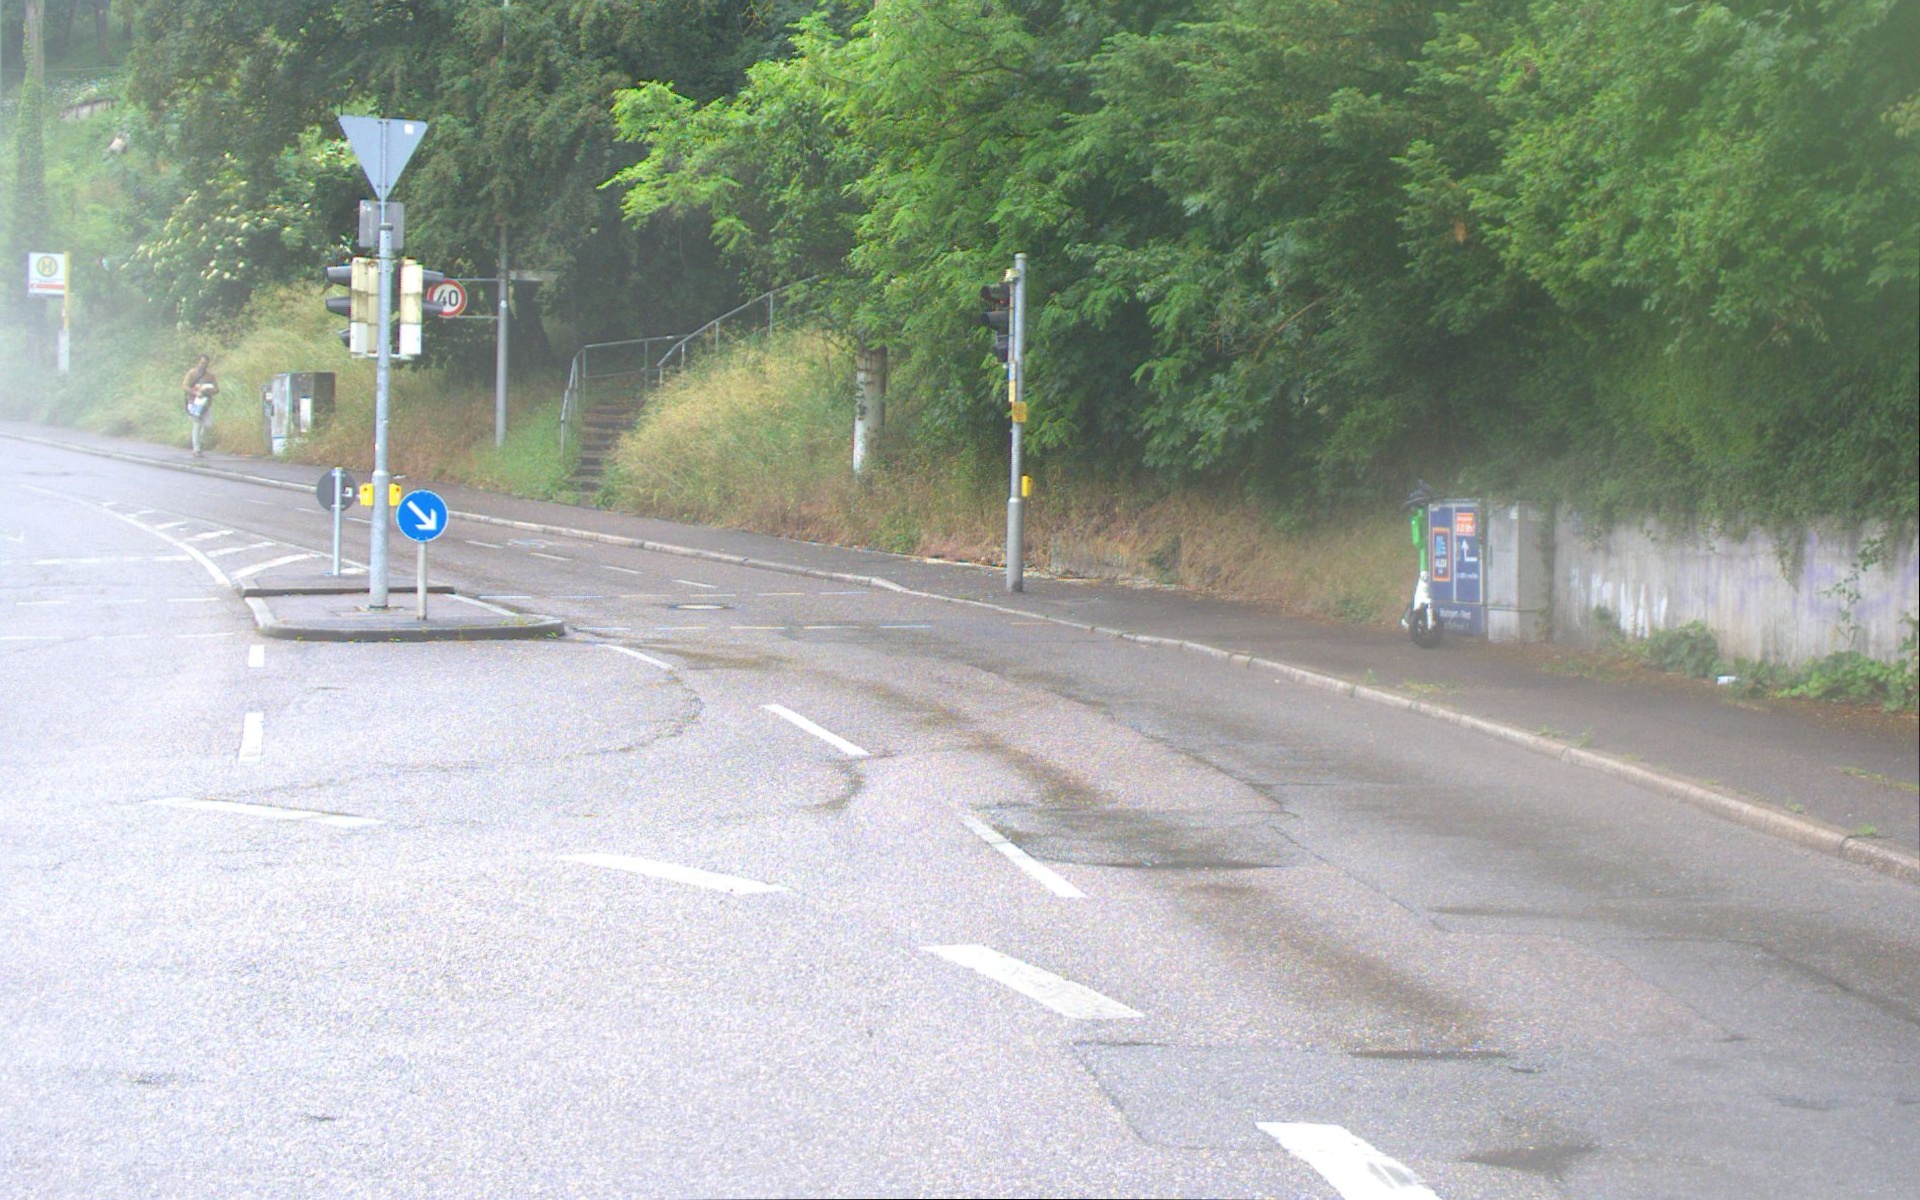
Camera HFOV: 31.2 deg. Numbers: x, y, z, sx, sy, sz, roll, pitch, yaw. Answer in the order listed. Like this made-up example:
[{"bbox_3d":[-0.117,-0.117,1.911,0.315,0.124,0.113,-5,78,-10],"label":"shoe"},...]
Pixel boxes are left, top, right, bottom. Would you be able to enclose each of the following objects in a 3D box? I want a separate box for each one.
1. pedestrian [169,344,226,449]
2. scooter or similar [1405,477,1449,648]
[{"bbox_3d":[-13.003,-3.457,58.620,0.880,1.730,0.866,0,0,-17],"label":"pedestrian"},{"bbox_3d":[3.595,-0.297,26.477,0.322,1.275,0.751,0,4,7],"label":"scooter or similar"}]
